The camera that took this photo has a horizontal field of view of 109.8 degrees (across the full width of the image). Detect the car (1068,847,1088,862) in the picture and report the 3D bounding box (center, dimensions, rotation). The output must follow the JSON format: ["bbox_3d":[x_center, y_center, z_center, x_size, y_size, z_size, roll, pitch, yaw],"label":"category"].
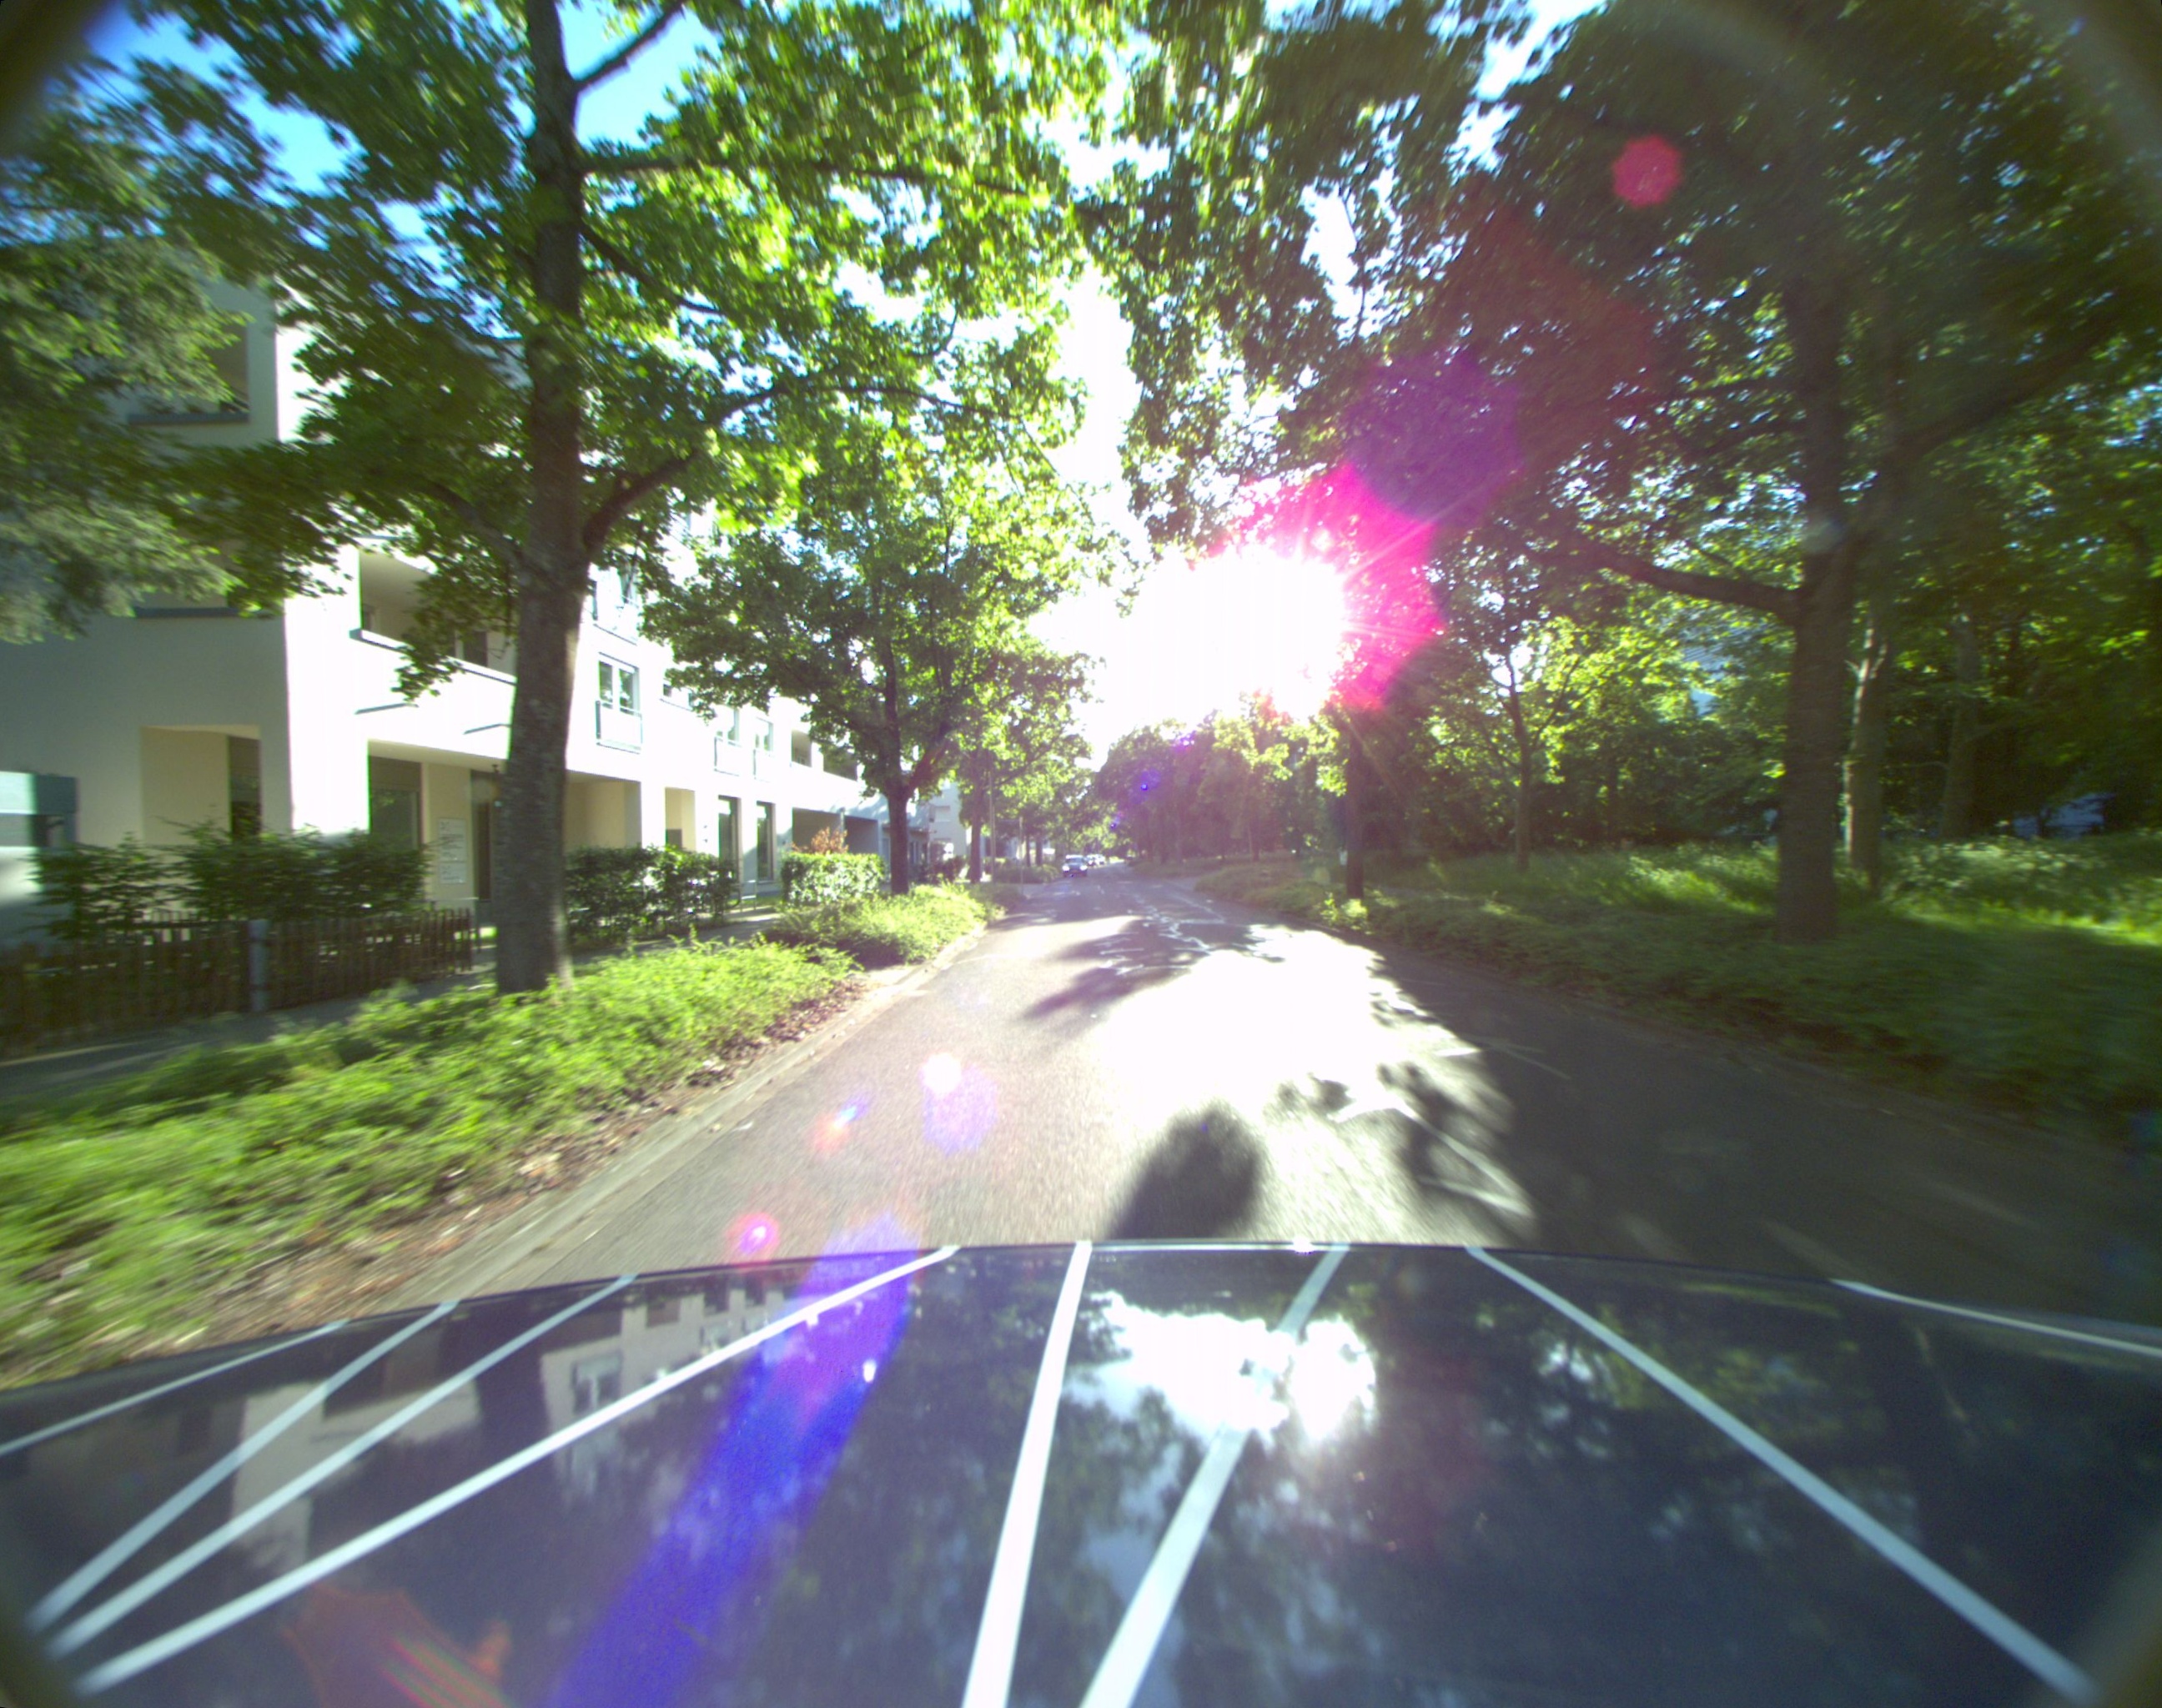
[{"bbox_3d":[-0.284,0.030,84.742,1.998,1.531,4.000,-2,1,2],"label":"car"}]

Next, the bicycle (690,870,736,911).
[{"bbox_3d":[-10.933,1.059,22.609,0.420,1.104,1.787,-2,1,1],"label":"bicycle"}]

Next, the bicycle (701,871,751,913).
[{"bbox_3d":[-10.466,1.094,22.458,0.420,1.081,2.112,-2,1,1],"label":"bicycle"}]

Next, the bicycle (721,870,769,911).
[{"bbox_3d":[-9.912,1.061,22.511,0.420,1.081,2.112,-2,1,1],"label":"bicycle"}]

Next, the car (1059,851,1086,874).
[{"bbox_3d":[-0.674,0.630,58.377,1.890,1.612,4.617,-2,1,-1],"label":"car"}]
